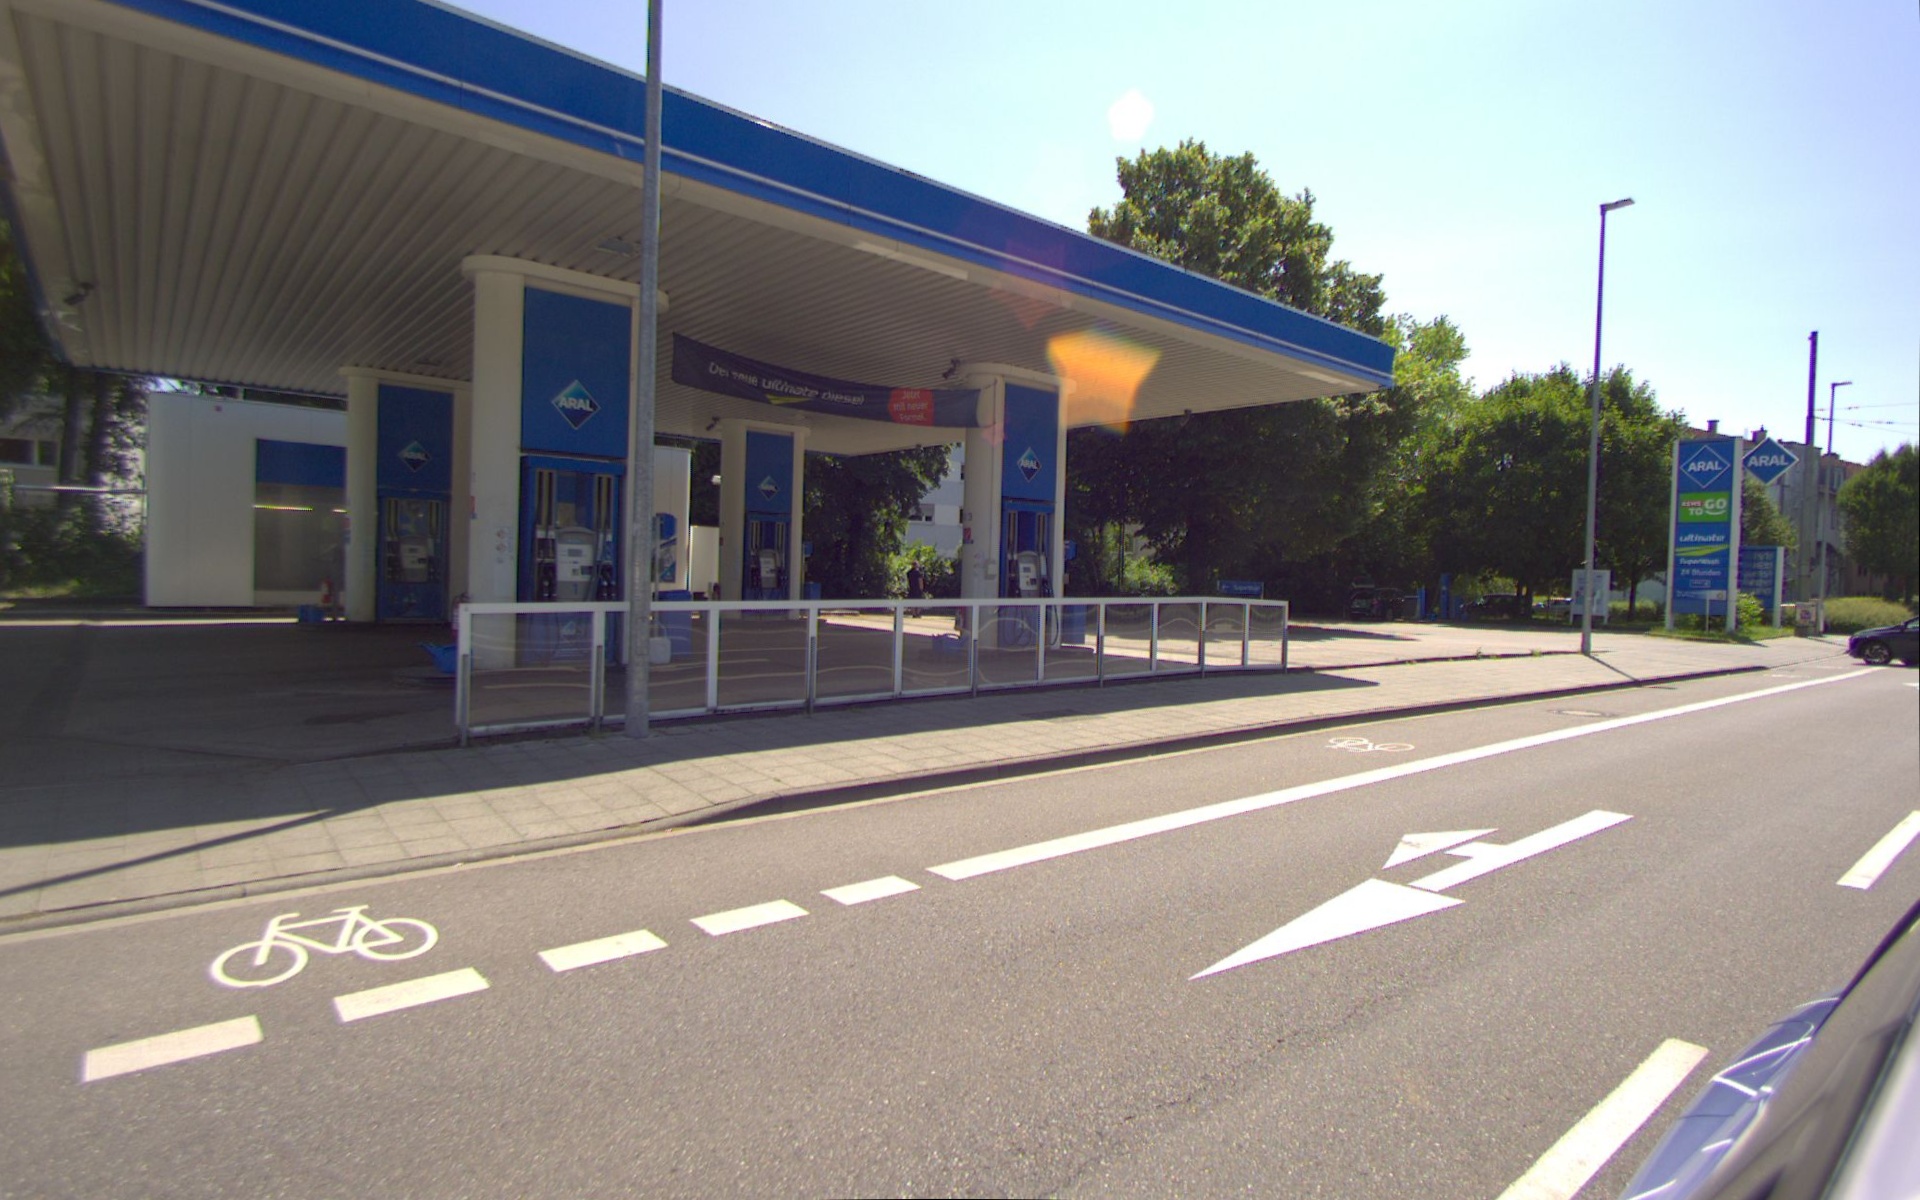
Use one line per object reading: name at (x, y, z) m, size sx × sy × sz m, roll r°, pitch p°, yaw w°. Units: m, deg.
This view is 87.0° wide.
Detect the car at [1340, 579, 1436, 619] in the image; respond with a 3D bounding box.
car at (19.142, -0.092, 45.200) m, size 4.327 × 1.683 × 2.000 m, roll -1°, pitch 2°, yaw -36°

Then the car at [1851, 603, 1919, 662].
car at (24.625, 0.829, 24.591) m, size 1.683 × 1.440 × 4.151 m, roll 1°, pitch 0°, yaw -19°

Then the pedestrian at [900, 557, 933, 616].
pedestrian at (-1.445, -0.440, 33.317) m, size 0.822 × 1.912 × 0.626 m, roll 2°, pitch 0°, yaw -40°

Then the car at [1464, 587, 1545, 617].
car at (33.617, 0.107, 62.534) m, size 1.959 × 1.708 × 4.008 m, roll 1°, pitch 1°, yaw -25°

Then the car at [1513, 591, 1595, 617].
car at (39.367, 0.233, 67.137) m, size 1.961 × 1.540 × 4.230 m, roll 0°, pitch 1°, yaw -32°
